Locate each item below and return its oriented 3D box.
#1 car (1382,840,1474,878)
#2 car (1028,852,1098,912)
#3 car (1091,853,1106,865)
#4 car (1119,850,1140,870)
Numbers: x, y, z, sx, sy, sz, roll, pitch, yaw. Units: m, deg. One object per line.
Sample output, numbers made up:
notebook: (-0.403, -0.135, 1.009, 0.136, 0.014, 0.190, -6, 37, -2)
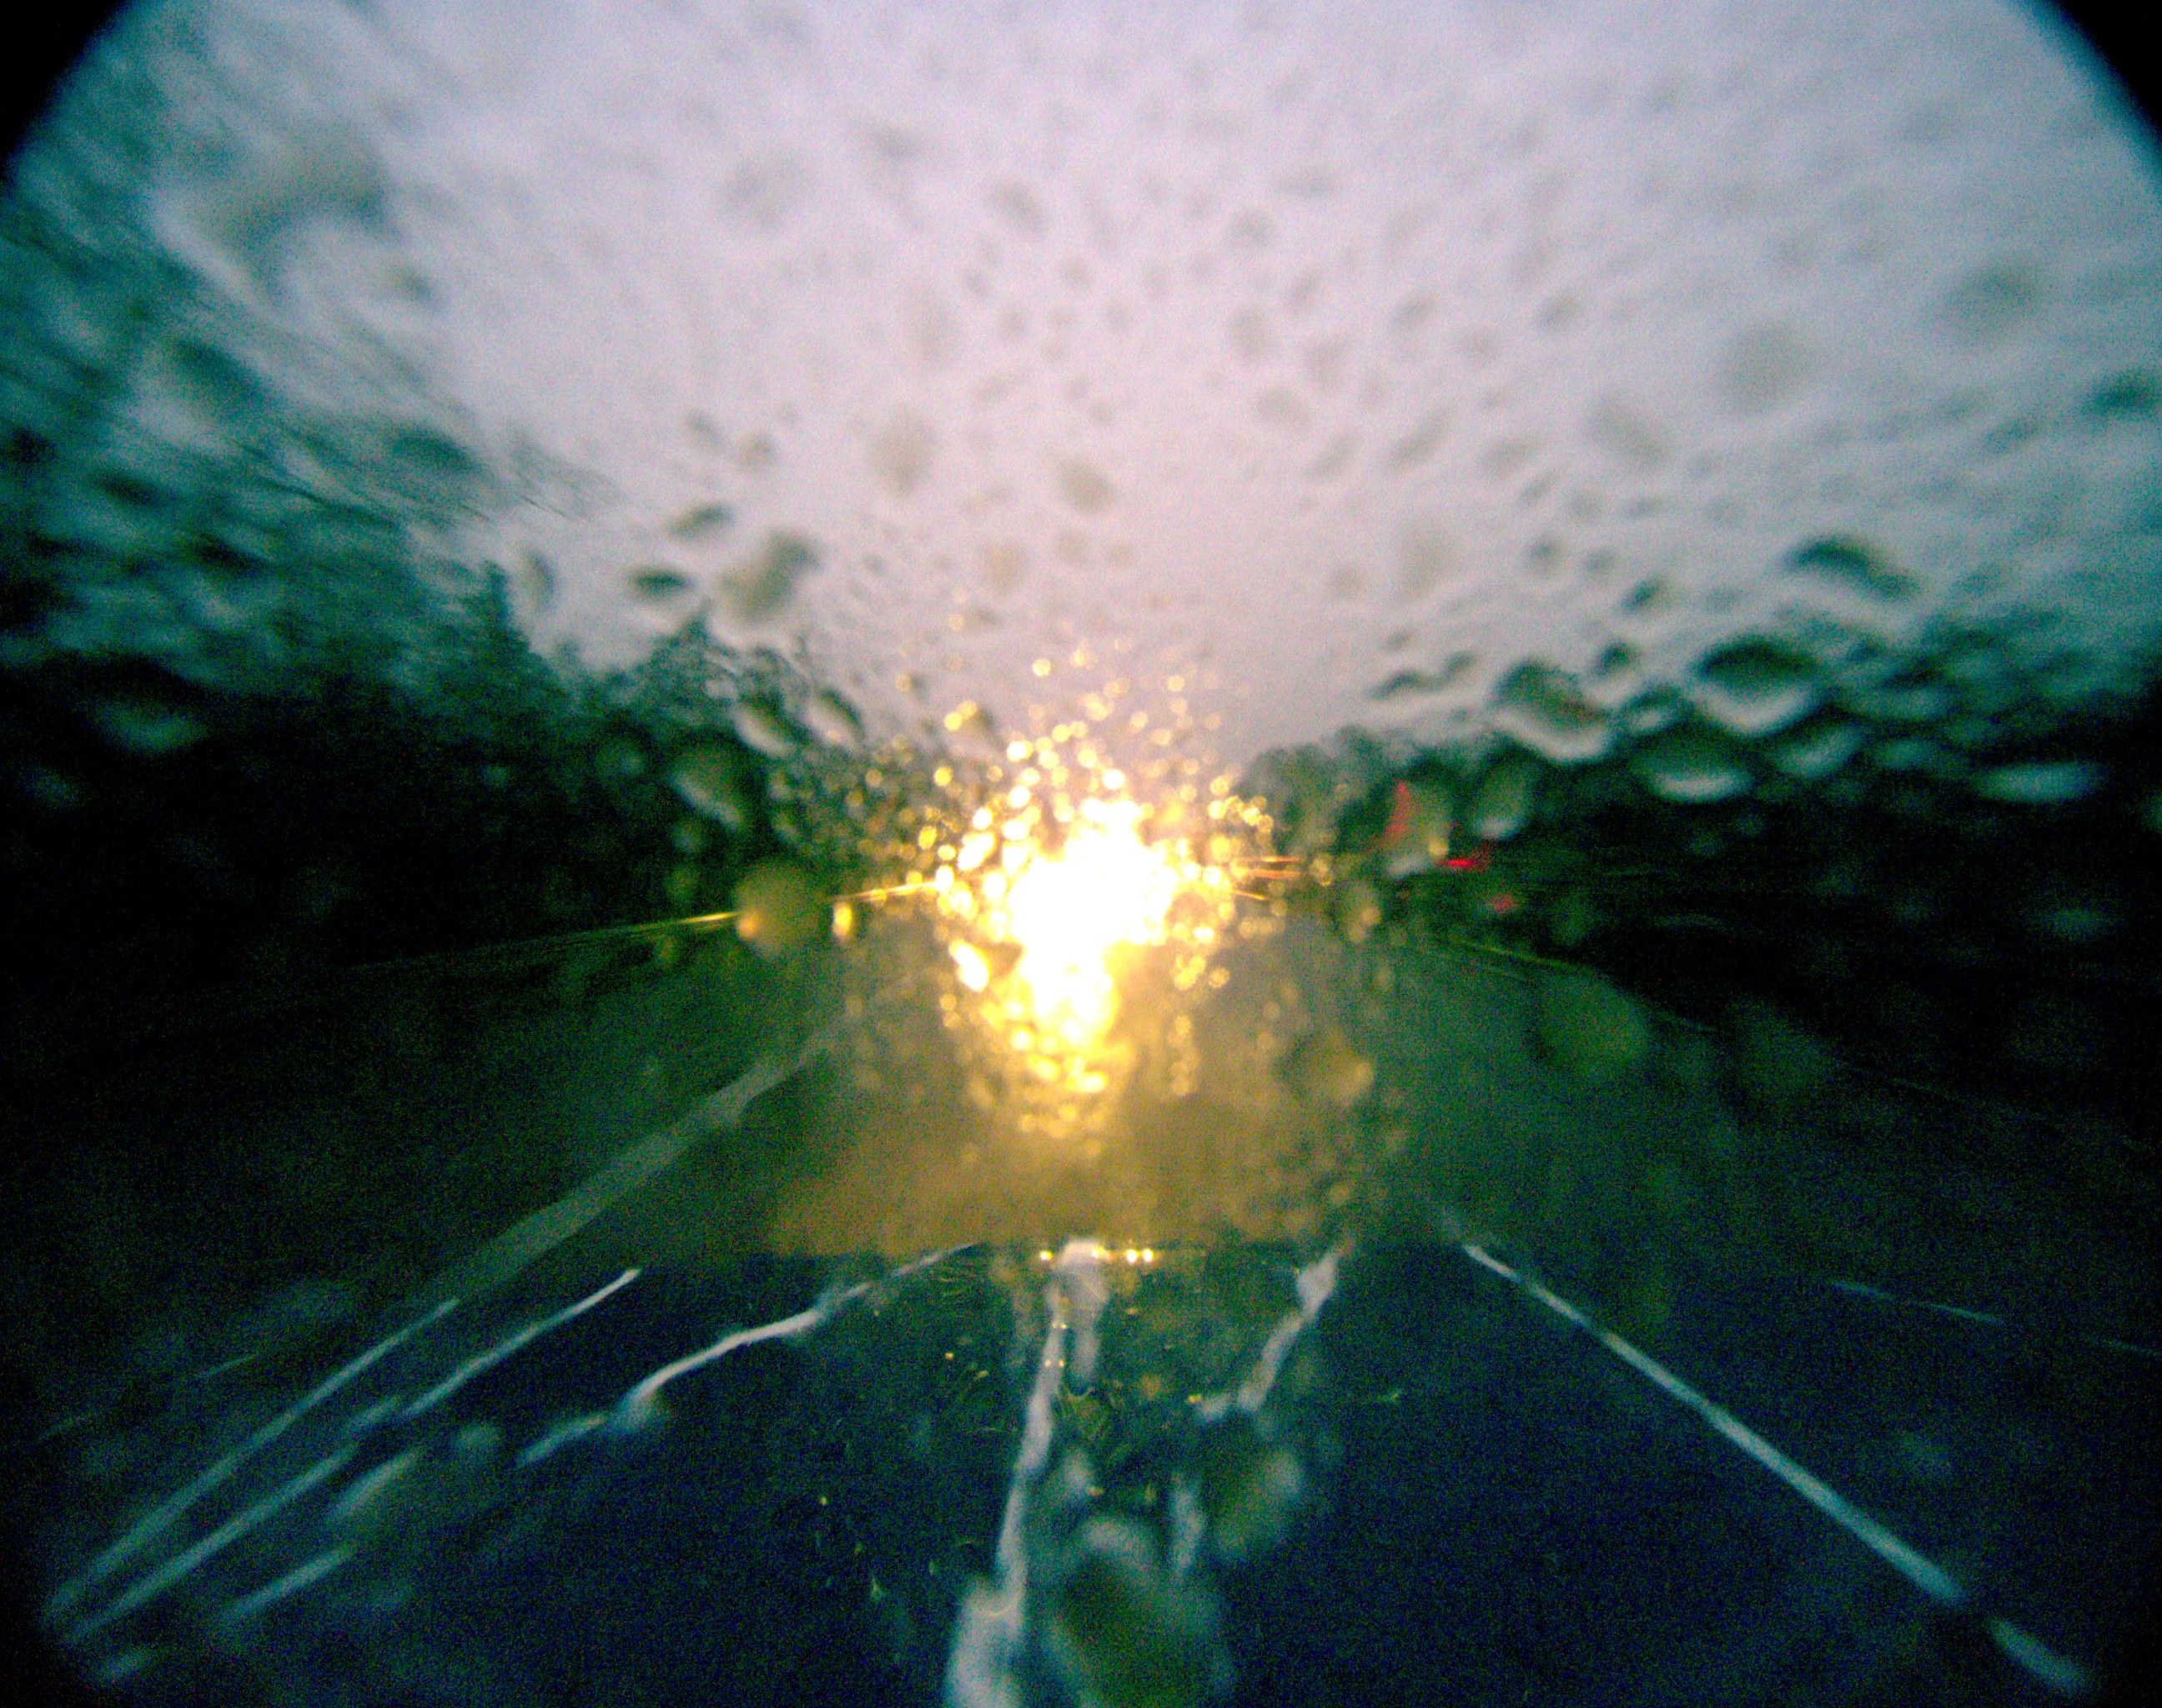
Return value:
car: (15.569, 0.228, 34.398, 1.998, 1.580, 4.959, -1, 0, 1)
car: (-0.505, 0.851, 25.364, 1.928, 1.781, 3.941, -2, 0, 4)
car: (2.275, 0.592, 95.471, 1.741, 1.441, 4.000, -2, 0, 3)
car: (4.765, 0.568, 74.878, 1.766, 1.922, 4.000, -2, 0, 0)
